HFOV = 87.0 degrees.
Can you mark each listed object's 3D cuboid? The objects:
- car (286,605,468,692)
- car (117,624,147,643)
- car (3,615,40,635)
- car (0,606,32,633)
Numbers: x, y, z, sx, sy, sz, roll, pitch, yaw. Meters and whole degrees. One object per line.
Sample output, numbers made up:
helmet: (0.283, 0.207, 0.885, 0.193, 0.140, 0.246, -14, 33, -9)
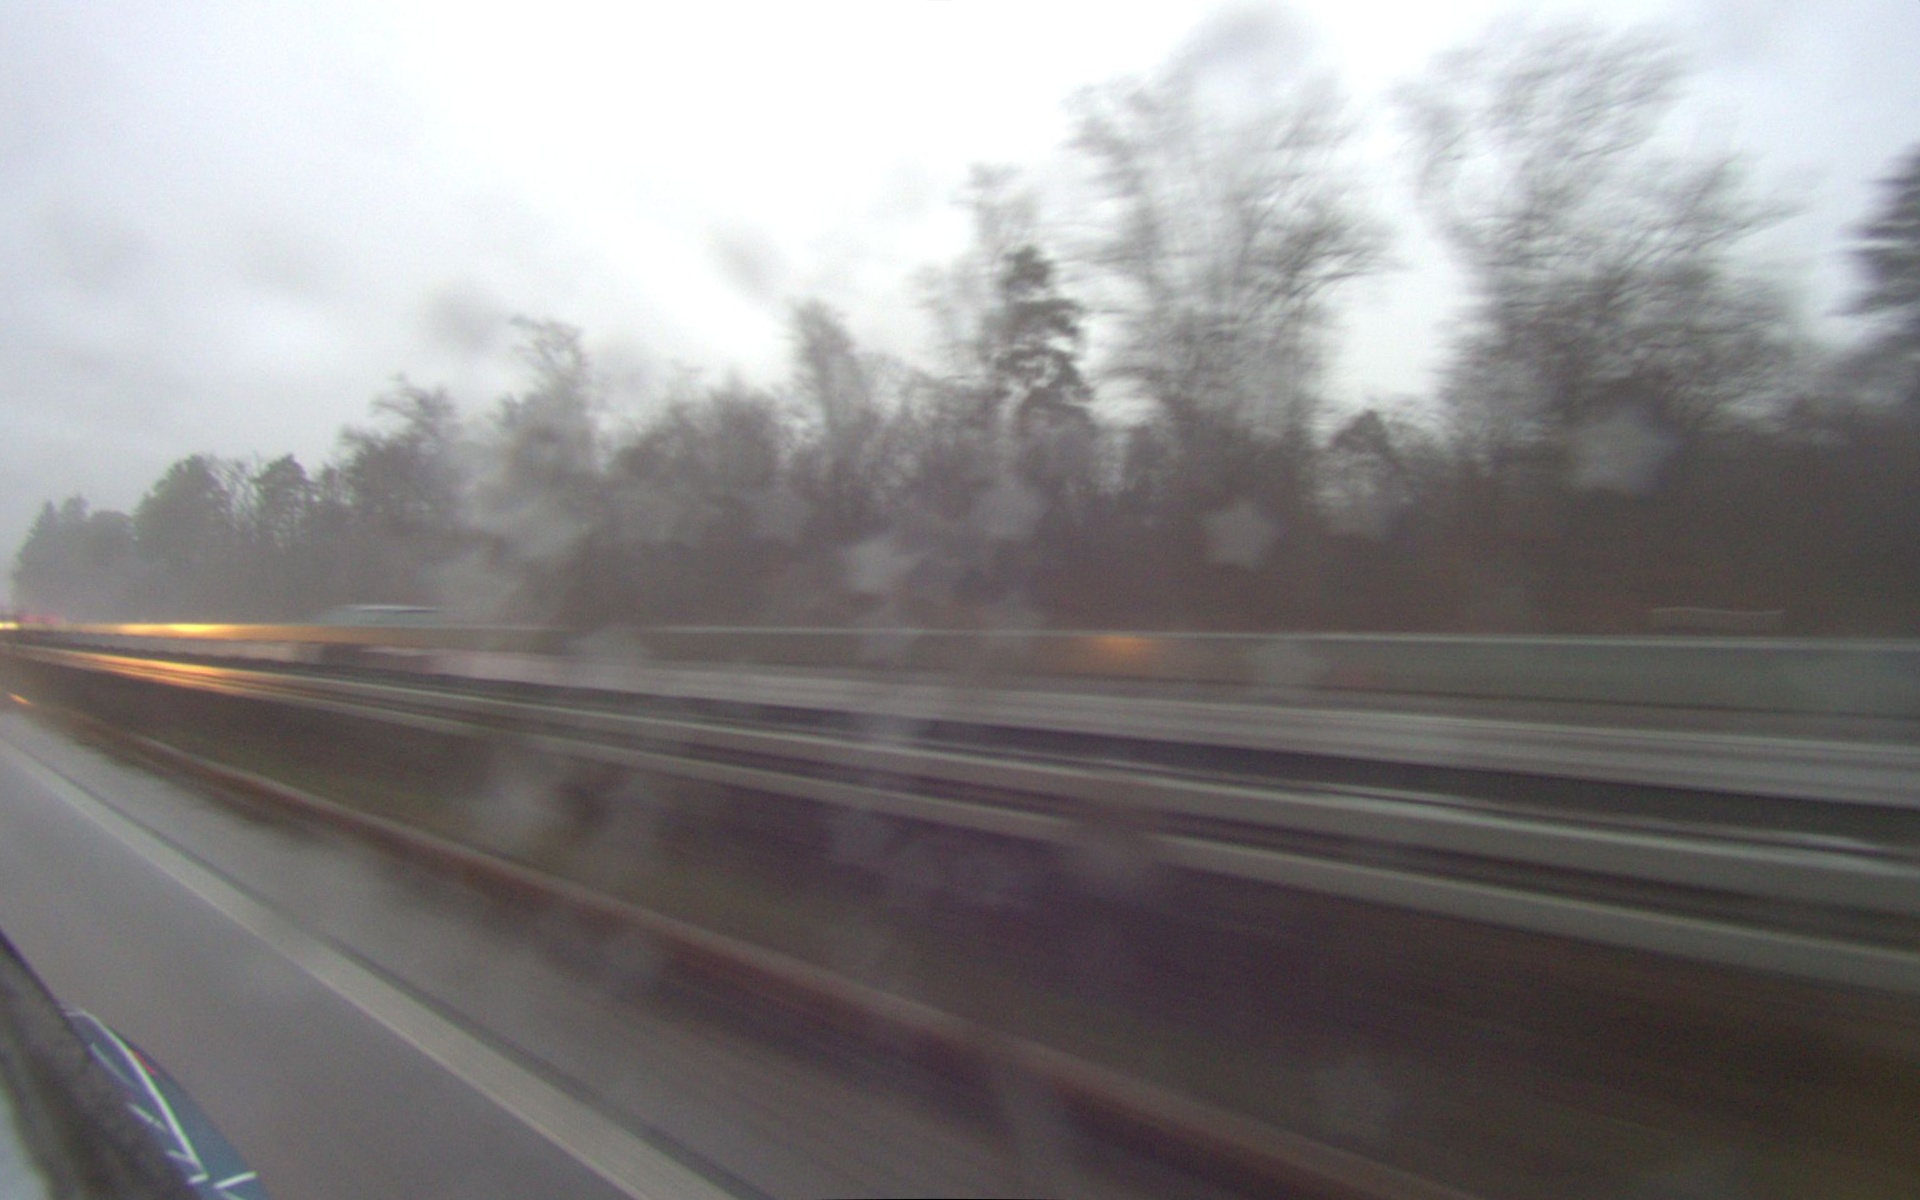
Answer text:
car: (-11.906, 0.937, 20.548, 4.526, 1.561, 1.814, -2, -1, 41)
car: (-66.155, 2.682, 80.835, 1.510, 1.427, 3.755, 0, 0, -45)
car: (-74.552, 1.930, 80.412, 4.720, 1.496, 1.734, -1, 0, 42)
car: (-58.541, 1.179, 62.327, 4.421, 1.590, 1.661, -1, 0, 42)
